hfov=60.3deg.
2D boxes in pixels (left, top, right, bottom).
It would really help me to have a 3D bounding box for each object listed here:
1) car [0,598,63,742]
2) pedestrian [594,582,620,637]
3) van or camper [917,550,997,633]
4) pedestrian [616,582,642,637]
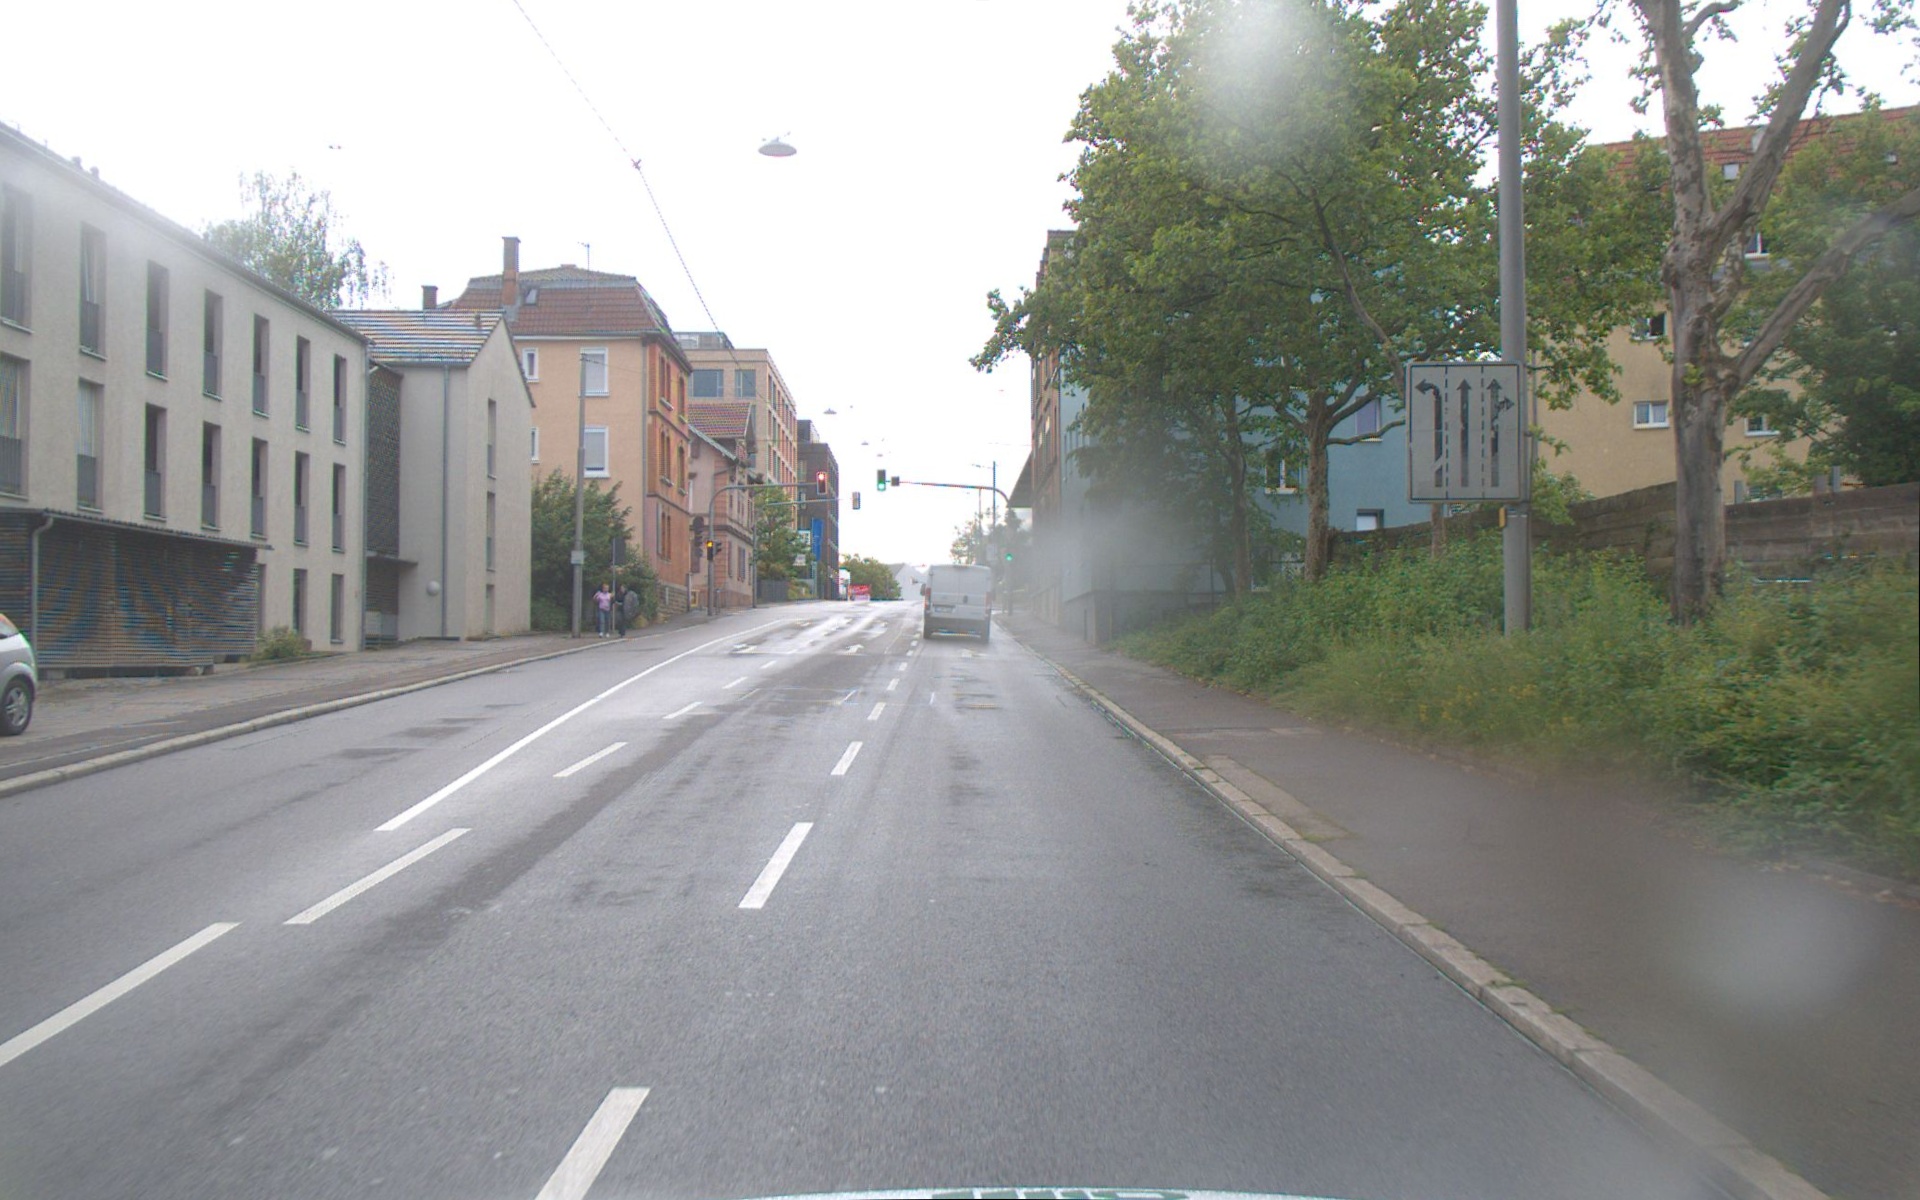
[{"bbox_3d":[-11.105,0.753,16.840,1.709,1.534,4.177,0,0,-1],"label":"car"},{"bbox_3d":[-11.363,0.298,53.204,0.627,1.736,0.911,1,0,0],"label":"pedestrian"},{"bbox_3d":[-0.093,-0.241,50.937,2.292,2.398,5.199,1,0,0],"label":"van or camper"},{"bbox_3d":[-10.637,0.296,53.171,0.627,1.736,0.911,1,0,0],"label":"pedestrian"}]
